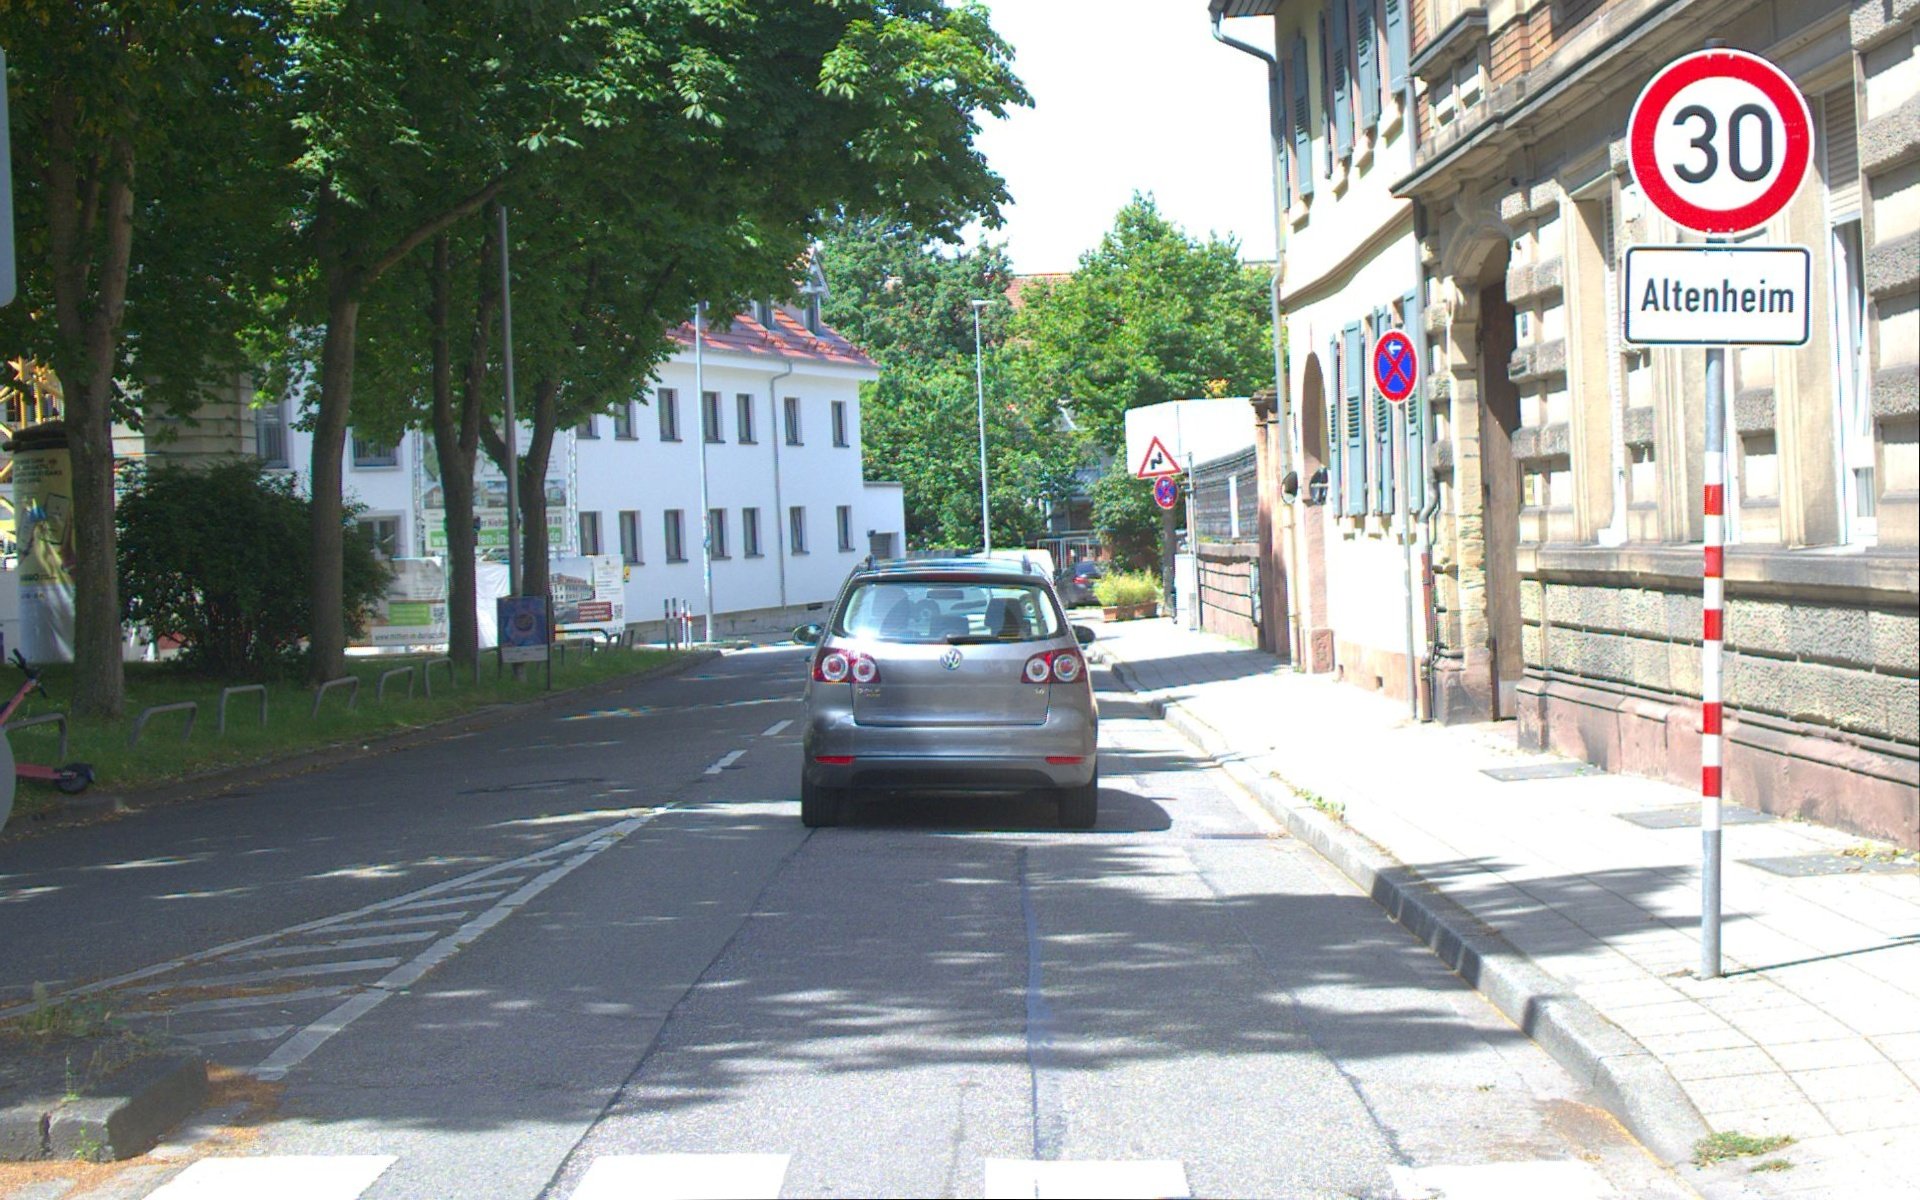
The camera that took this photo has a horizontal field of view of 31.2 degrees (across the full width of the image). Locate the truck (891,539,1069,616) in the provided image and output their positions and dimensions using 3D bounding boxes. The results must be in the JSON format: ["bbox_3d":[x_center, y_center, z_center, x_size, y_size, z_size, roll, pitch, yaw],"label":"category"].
[{"bbox_3d":[0.541,-0.646,97.717,4.792,2.007,2.146,-2,1,-6],"label":"truck"}]

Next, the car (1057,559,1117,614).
[{"bbox_3d":[3.767,-0.410,102.311,1.647,1.568,3.639,-1,1,1],"label":"car"}]

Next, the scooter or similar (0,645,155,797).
[{"bbox_3d":[-7.046,0.915,26.536,1.272,0.988,1.452,6,0,-2],"label":"scooter or similar"}]

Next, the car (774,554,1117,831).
[{"bbox_3d":[-0.038,0.487,21.286,1.903,1.528,4.243,0,1,1],"label":"car"}]
